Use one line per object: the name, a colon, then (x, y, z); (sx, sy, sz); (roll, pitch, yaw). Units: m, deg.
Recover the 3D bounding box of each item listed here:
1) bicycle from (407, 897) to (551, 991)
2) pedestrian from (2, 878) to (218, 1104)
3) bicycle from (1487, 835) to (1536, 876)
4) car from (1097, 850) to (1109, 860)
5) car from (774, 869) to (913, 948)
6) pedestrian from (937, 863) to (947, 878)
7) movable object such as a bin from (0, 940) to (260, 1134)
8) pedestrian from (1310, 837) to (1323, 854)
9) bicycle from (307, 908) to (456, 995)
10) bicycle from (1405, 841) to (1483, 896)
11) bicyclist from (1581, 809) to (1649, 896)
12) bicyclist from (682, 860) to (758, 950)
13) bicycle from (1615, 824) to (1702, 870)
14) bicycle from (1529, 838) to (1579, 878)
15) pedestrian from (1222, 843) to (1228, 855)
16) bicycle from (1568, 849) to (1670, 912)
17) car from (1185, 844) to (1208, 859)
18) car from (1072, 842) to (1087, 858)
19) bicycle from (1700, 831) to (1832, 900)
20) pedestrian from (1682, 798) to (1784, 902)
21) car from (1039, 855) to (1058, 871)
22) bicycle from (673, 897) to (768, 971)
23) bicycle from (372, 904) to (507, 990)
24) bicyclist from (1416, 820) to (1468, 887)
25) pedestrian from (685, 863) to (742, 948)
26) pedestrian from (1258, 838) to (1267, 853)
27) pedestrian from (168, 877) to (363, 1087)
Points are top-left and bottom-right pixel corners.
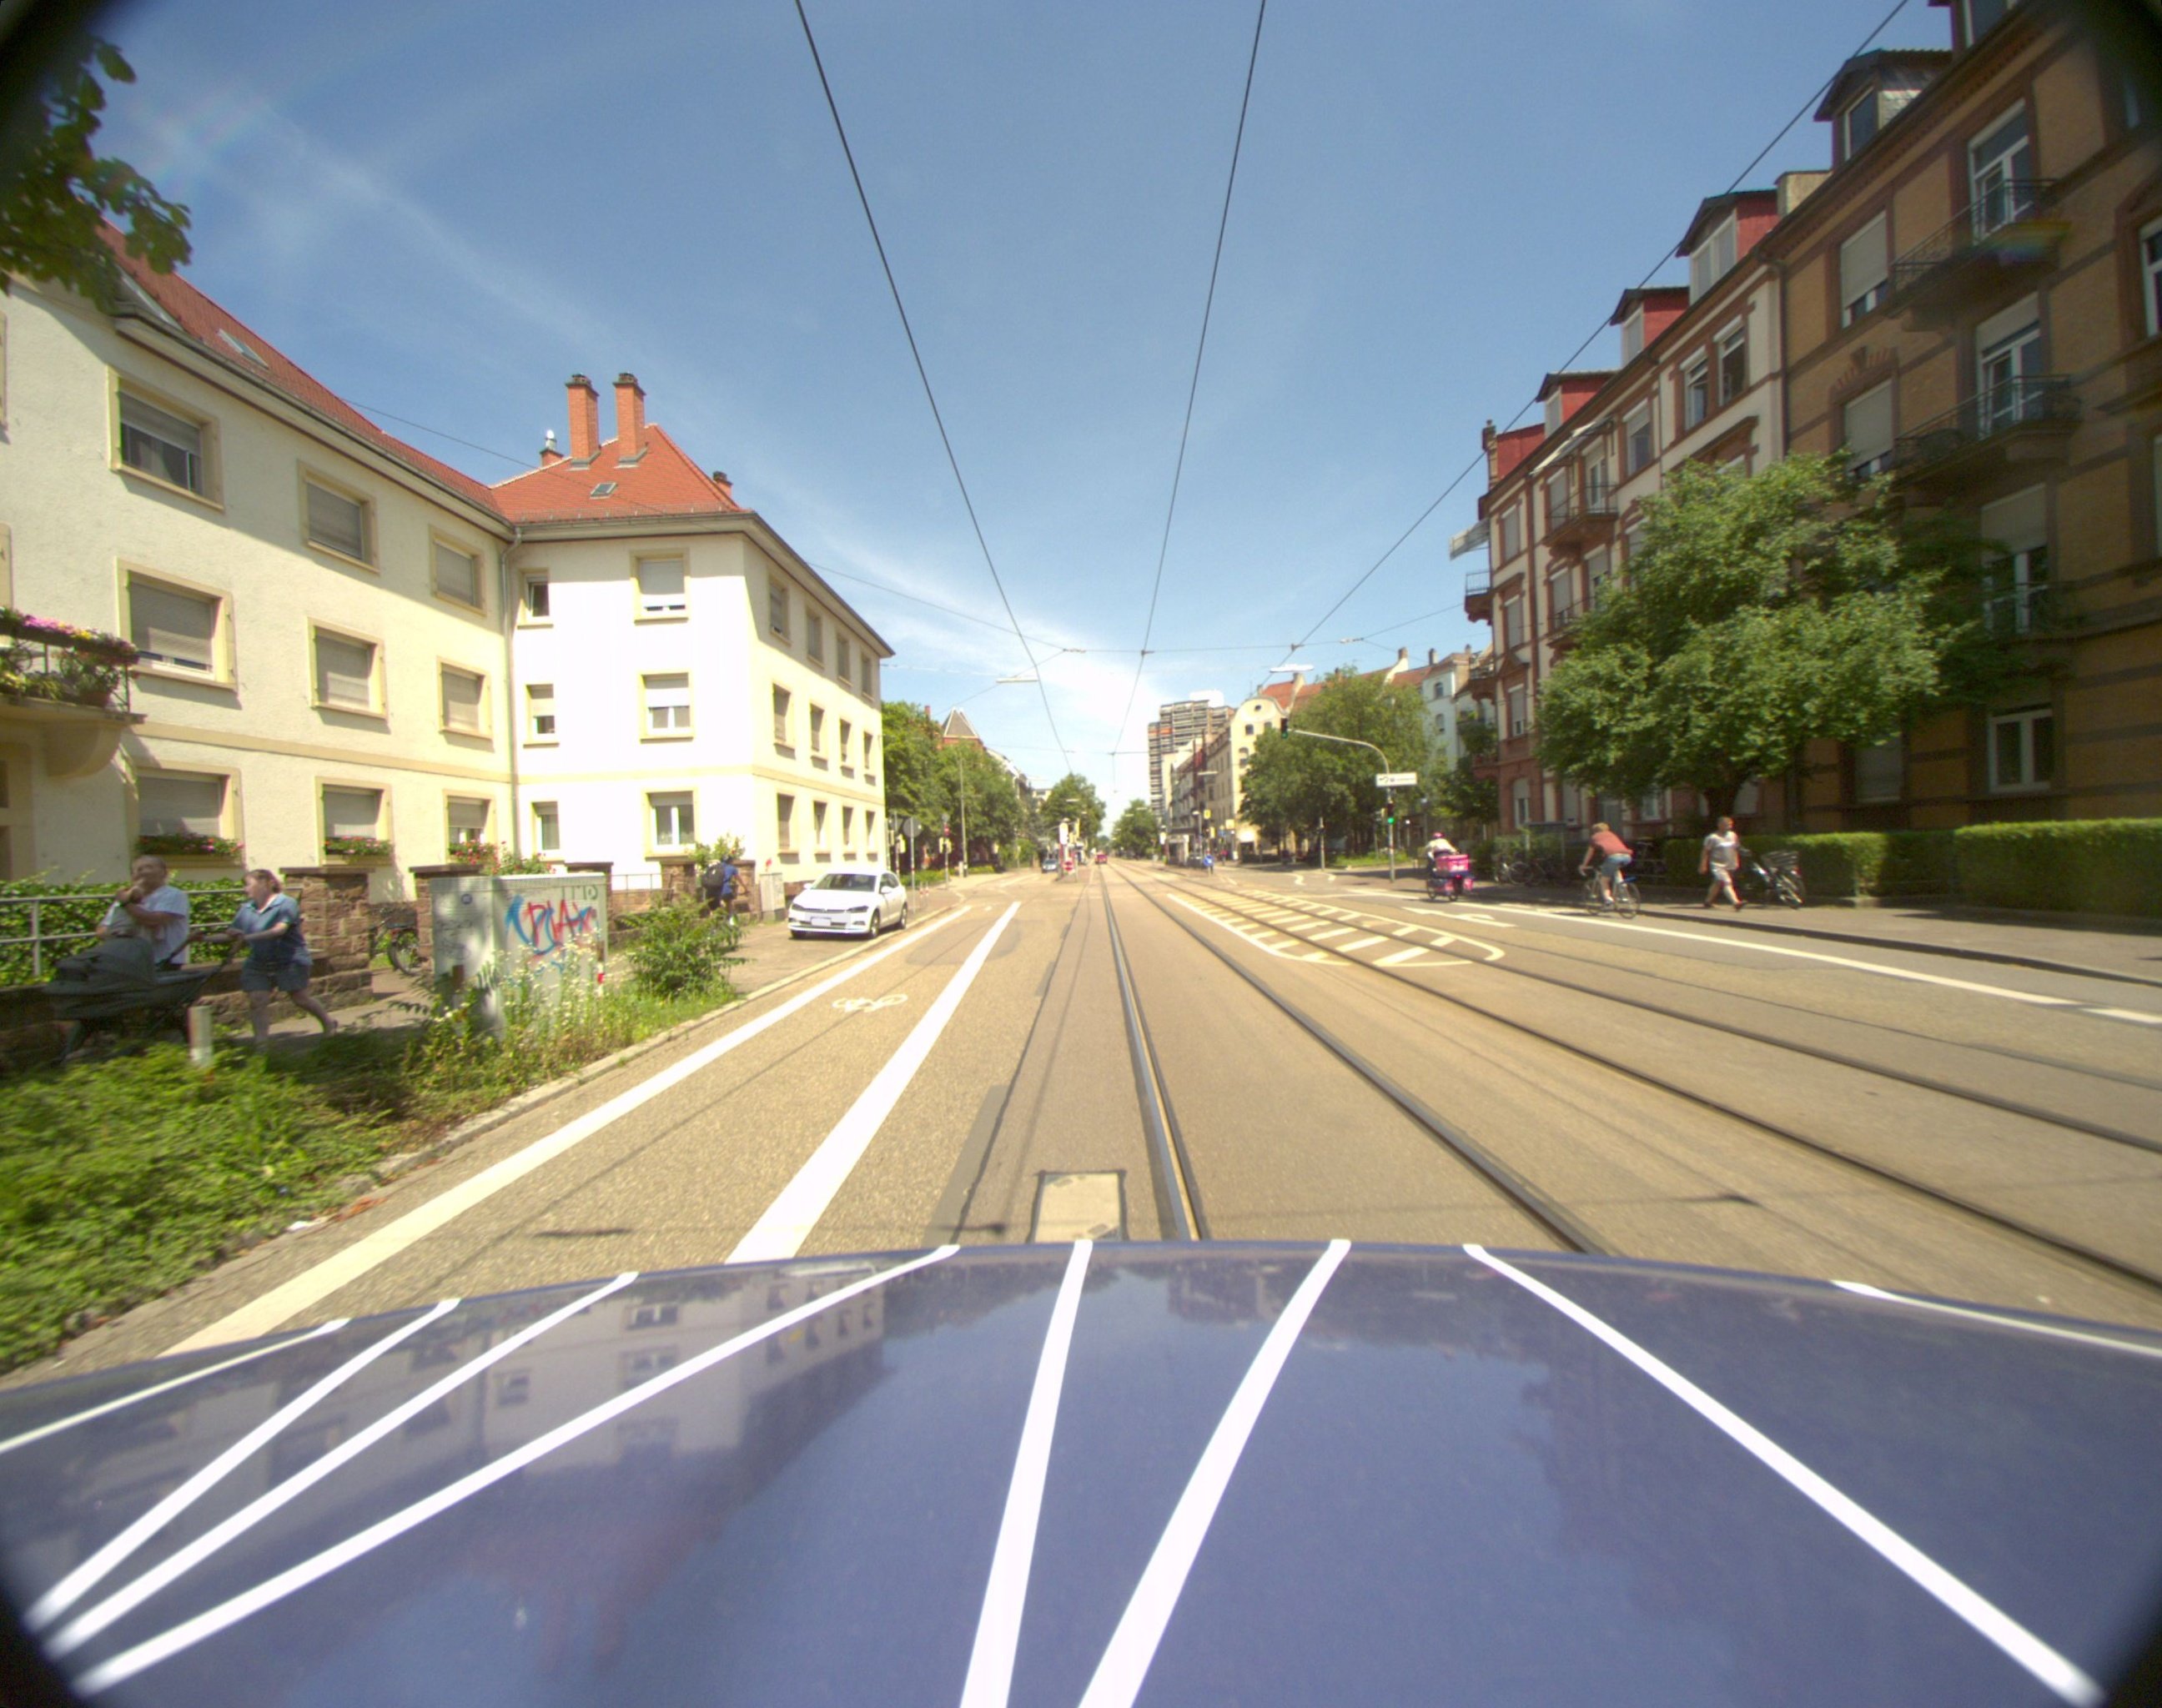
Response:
bicycle: (-8.955, 1.300, 11.410); (0.598, 1.168, 1.754); (-3, 0, 5)
pedestrian: (-7.690, 1.041, 6.060); (0.699, 1.660, 0.756); (-1, 1, 0)
bicycle: (13.124, 0.038, 23.220); (0.574, 1.162, 1.716); (-3, 1, 4)
car: (3.667, 0.227, 127.002); (1.737, 1.543, 4.423); (-3, 0, -1)
car: (-5.112, 1.113, 16.977); (1.782, 1.402, 4.156); (1, 1, 0)
pedestrian: (-11.296, 1.352, 61.604); (0.652, 1.143, 0.642); (-4, 1, -15)
movable object such as a bin: (-6.997, 1.288, 5.613); (0.699, 1.179, 1.036); (-1, 1, 0)
pedestrian: (18.836, -0.706, 60.725); (0.822, 1.309, 0.652); (-3, 1, 7)
bicycle: (-10.549, 1.433, 11.566); (0.598, 1.057, 1.841); (-3, 0, -4)
bicycle: (9.205, 0.341, 19.404); (0.809, 1.264, 2.550); (-3, 1, 2)
bicyclist: (9.700, -0.034, 13.833); (0.564, 1.507, 0.892); (-3, 1, 2)
bicyclist: (-6.194, 0.850, 13.091); (0.712, 1.443, 1.010); (-3, 1, 3)
bicycle: (13.837, -0.164, 18.222); (1.650, 0.990, 0.495); (-3, 1, 3)
bicycle: (13.099, 0.100, 21.066); (0.460, 1.050, 1.565); (-3, 1, 4)
pedestrian: (17.355, -0.612, 91.540); (0.537, 1.433, 0.520); (-3, 1, -9)
bicycle: (9.732, 0.445, 13.837); (0.569, 1.032, 1.829); (-3, 1, 2)
car: (11.263, -0.253, 74.411); (1.697, 1.302, 3.848); (-3, 1, 1)
car: (-0.241, -0.667, 125.092); (2.236, 2.478, 5.265); (-3, 1, 0)
bicycle: (12.076, 0.178, 13.486); (0.639, 1.087, 1.931); (-5, 1, 4)
pedestrian: (11.278, -0.071, 13.183); (0.874, 1.690, 1.013); (-3, 1, 7)
car: (-3.382, 0.936, 79.812); (1.737, 1.543, 4.423); (-3, 0, -1)
bicycle: (-6.158, 1.335, 13.094); (0.603, 1.045, 1.823); (-3, 1, 3)
bicycle: (-9.731, 1.365, 11.620); (0.528, 1.057, 1.864); (-3, 0, -4)
bicyclist: (9.181, -0.015, 19.379); (0.809, 1.620, 0.980); (-3, 1, 2)
pedestrian: (-7.584, 1.041, 15.697); (0.699, 1.660, 0.756); (-3, 1, 0)
pedestrian: (17.408, -0.786, 72.874); (0.537, 1.433, 0.520); (-3, 1, -9)
pedestrian: (-6.994, 1.048, 6.569); (0.699, 1.660, 0.869); (-1, 1, 0)
